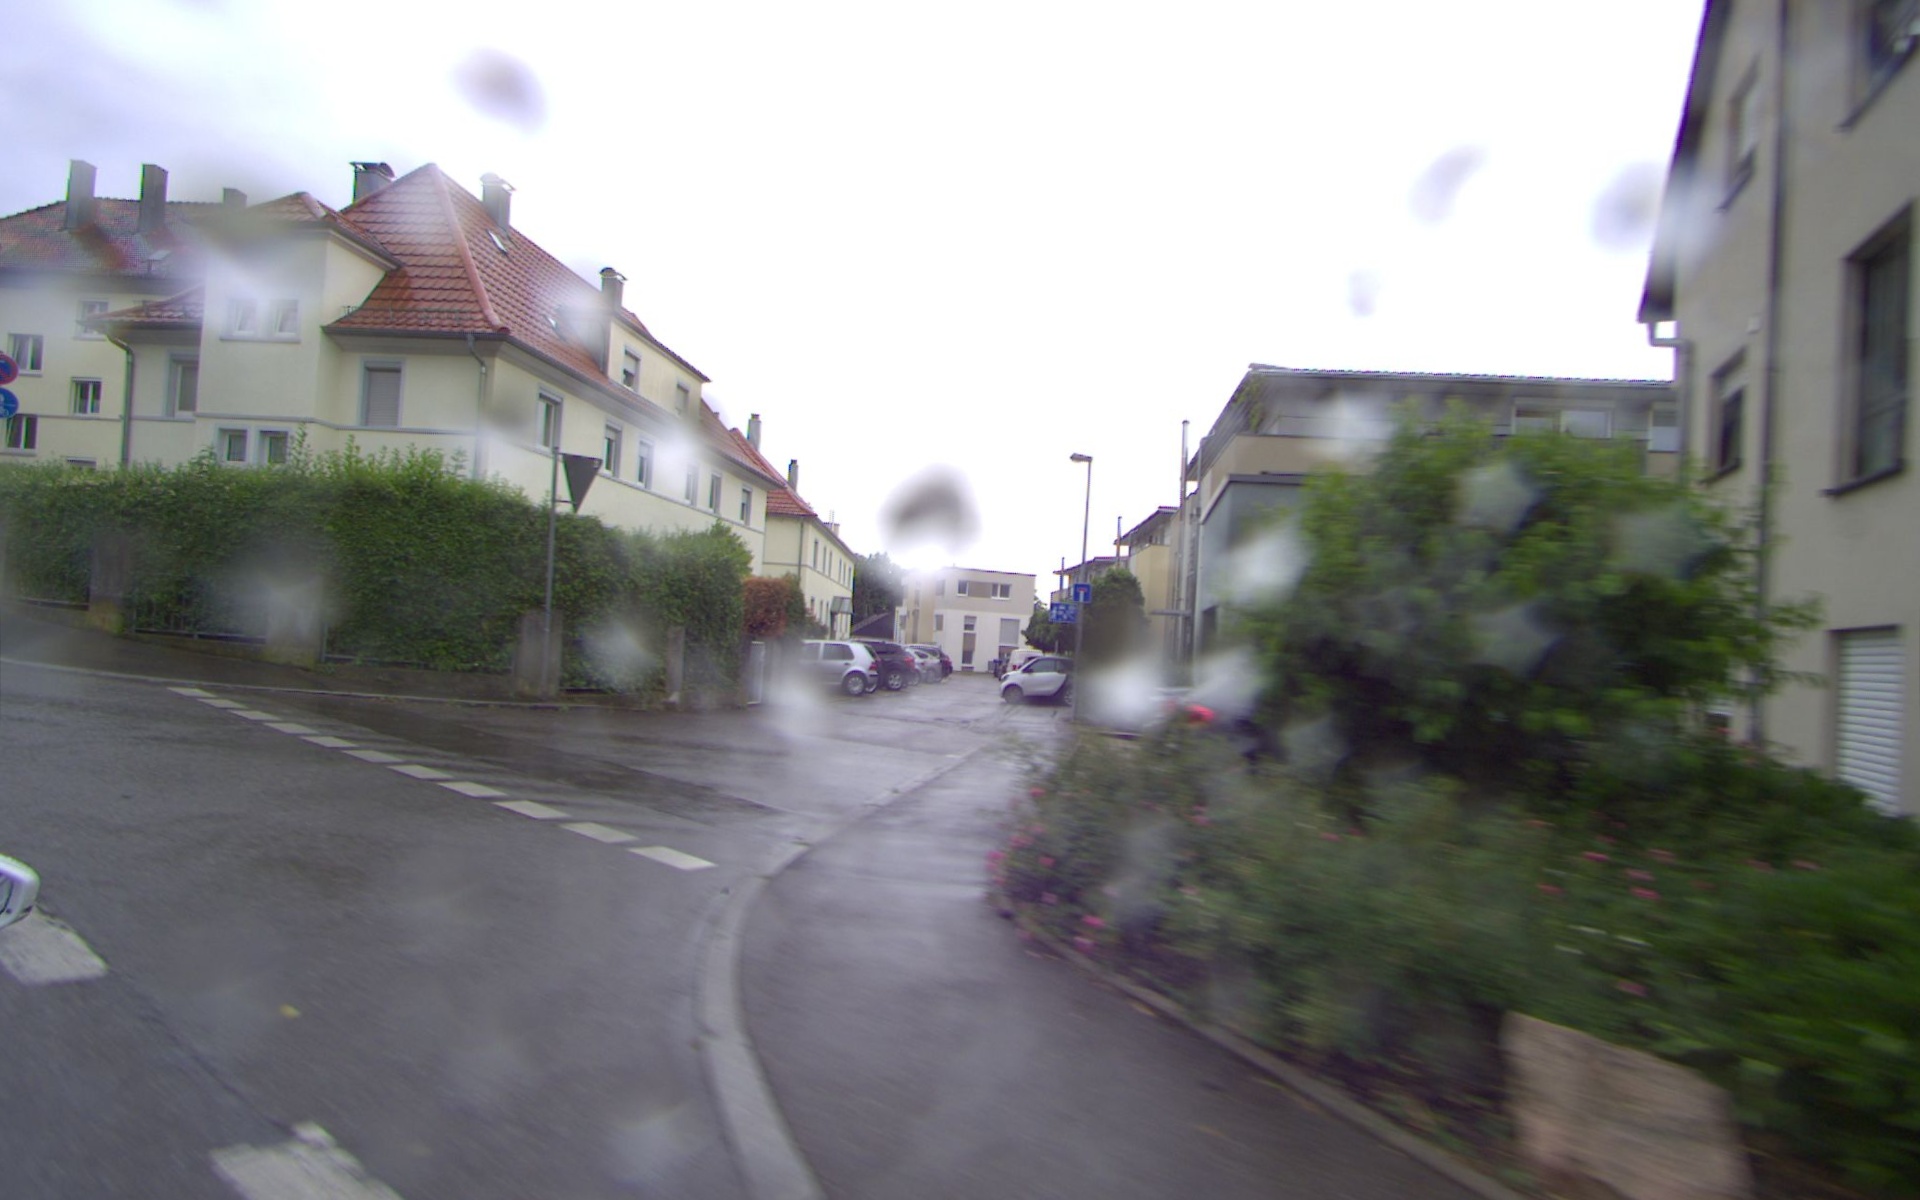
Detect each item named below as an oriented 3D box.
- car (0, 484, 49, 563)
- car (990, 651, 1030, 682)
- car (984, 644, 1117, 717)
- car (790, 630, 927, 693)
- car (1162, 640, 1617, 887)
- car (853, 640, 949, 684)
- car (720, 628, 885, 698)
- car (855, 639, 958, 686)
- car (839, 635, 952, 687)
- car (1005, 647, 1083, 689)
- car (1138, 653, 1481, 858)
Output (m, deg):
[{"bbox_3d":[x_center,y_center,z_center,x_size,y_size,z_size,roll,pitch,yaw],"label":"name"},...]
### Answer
[{"bbox_3d":[-27.629,-2.334,27.076,1.962,2.035,4.008,5,-4,14],"label":"car"},{"bbox_3d":[3.237,4.361,66.084,1.755,1.810,4.382,6,-4,-6],"label":"car"},{"bbox_3d":[2.853,2.571,32.296,3.925,1.858,2.003,6,-3,0],"label":"car"},{"bbox_3d":[-3.327,2.000,32.963,3.946,1.591,1.993,8,-4,-22],"label":"car"},{"bbox_3d":[3.176,1.203,8.025,2.934,1.387,1.778,5,-4,13],"label":"car"},{"bbox_3d":[-2.777,2.906,46.980,3.946,1.591,1.993,8,-4,-22],"label":"car"},{"bbox_3d":[-4.243,1.690,27.033,3.946,1.435,1.993,8,-4,-22],"label":"car"},{"bbox_3d":[-2.352,2.724,43.807,3.946,1.591,1.993,8,-4,-22],"label":"car"},{"bbox_3d":[-2.576,2.417,39.841,3.946,1.591,1.993,8,-4,-22],"label":"car"},{"bbox_3d":[4.587,3.730,55.271,3.925,1.858,2.003,6,-3,0],"label":"car"},{"bbox_3d":[3.390,1.496,10.201,2.934,1.556,1.609,5,-3,13],"label":"car"}]
